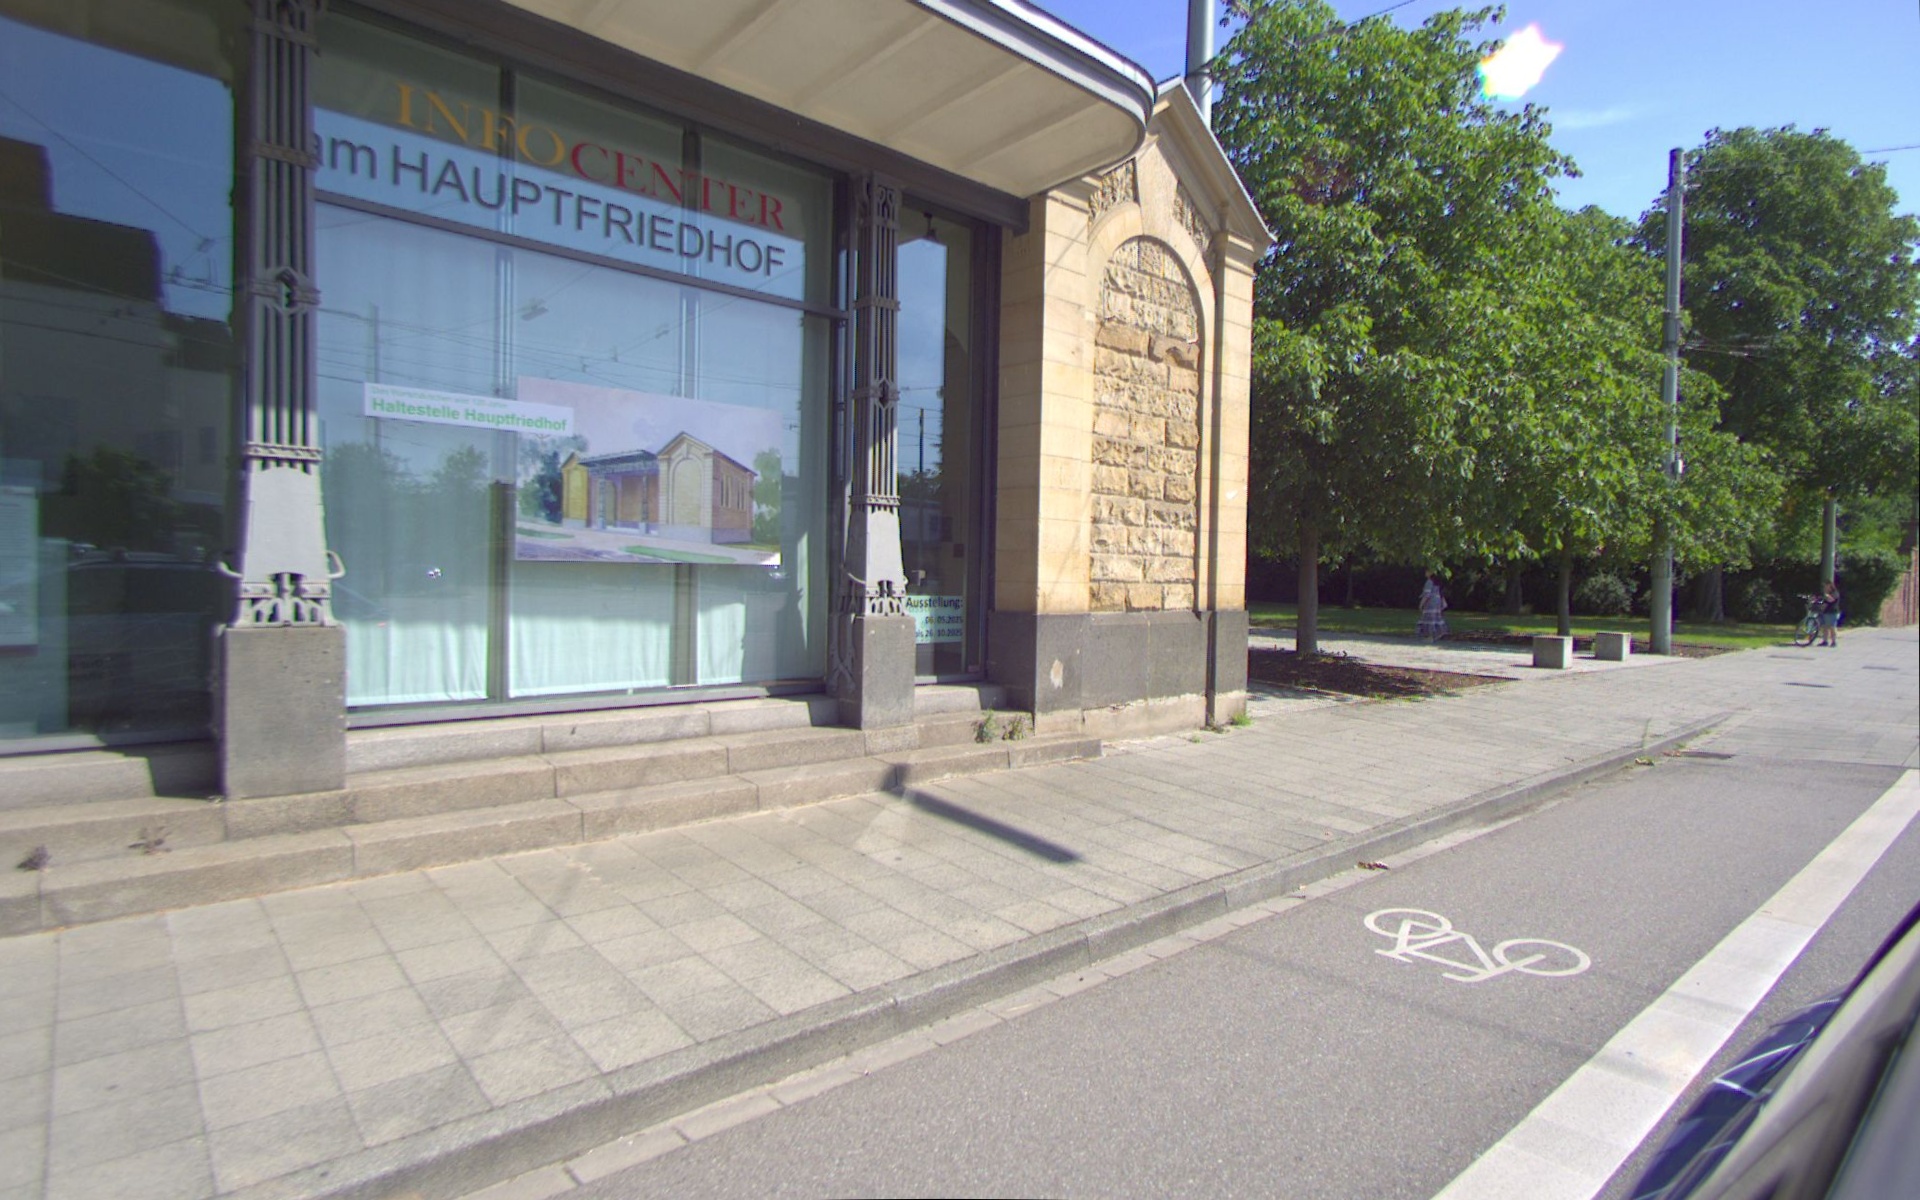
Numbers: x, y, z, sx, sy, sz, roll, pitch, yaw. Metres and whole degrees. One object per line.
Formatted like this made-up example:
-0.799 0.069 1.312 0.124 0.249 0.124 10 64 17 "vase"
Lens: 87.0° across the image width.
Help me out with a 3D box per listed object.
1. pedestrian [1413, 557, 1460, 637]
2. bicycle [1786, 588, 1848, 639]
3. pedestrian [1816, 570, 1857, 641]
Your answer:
10.403 -0.073 22.109 0.641 1.703 0.706 0 2 -43 "pedestrian"
19.948 0.308 23.552 1.771 1.125 0.538 0 3 -32 "bicycle"
20.150 0.112 23.260 0.652 1.567 0.541 0 4 -42 "pedestrian"
